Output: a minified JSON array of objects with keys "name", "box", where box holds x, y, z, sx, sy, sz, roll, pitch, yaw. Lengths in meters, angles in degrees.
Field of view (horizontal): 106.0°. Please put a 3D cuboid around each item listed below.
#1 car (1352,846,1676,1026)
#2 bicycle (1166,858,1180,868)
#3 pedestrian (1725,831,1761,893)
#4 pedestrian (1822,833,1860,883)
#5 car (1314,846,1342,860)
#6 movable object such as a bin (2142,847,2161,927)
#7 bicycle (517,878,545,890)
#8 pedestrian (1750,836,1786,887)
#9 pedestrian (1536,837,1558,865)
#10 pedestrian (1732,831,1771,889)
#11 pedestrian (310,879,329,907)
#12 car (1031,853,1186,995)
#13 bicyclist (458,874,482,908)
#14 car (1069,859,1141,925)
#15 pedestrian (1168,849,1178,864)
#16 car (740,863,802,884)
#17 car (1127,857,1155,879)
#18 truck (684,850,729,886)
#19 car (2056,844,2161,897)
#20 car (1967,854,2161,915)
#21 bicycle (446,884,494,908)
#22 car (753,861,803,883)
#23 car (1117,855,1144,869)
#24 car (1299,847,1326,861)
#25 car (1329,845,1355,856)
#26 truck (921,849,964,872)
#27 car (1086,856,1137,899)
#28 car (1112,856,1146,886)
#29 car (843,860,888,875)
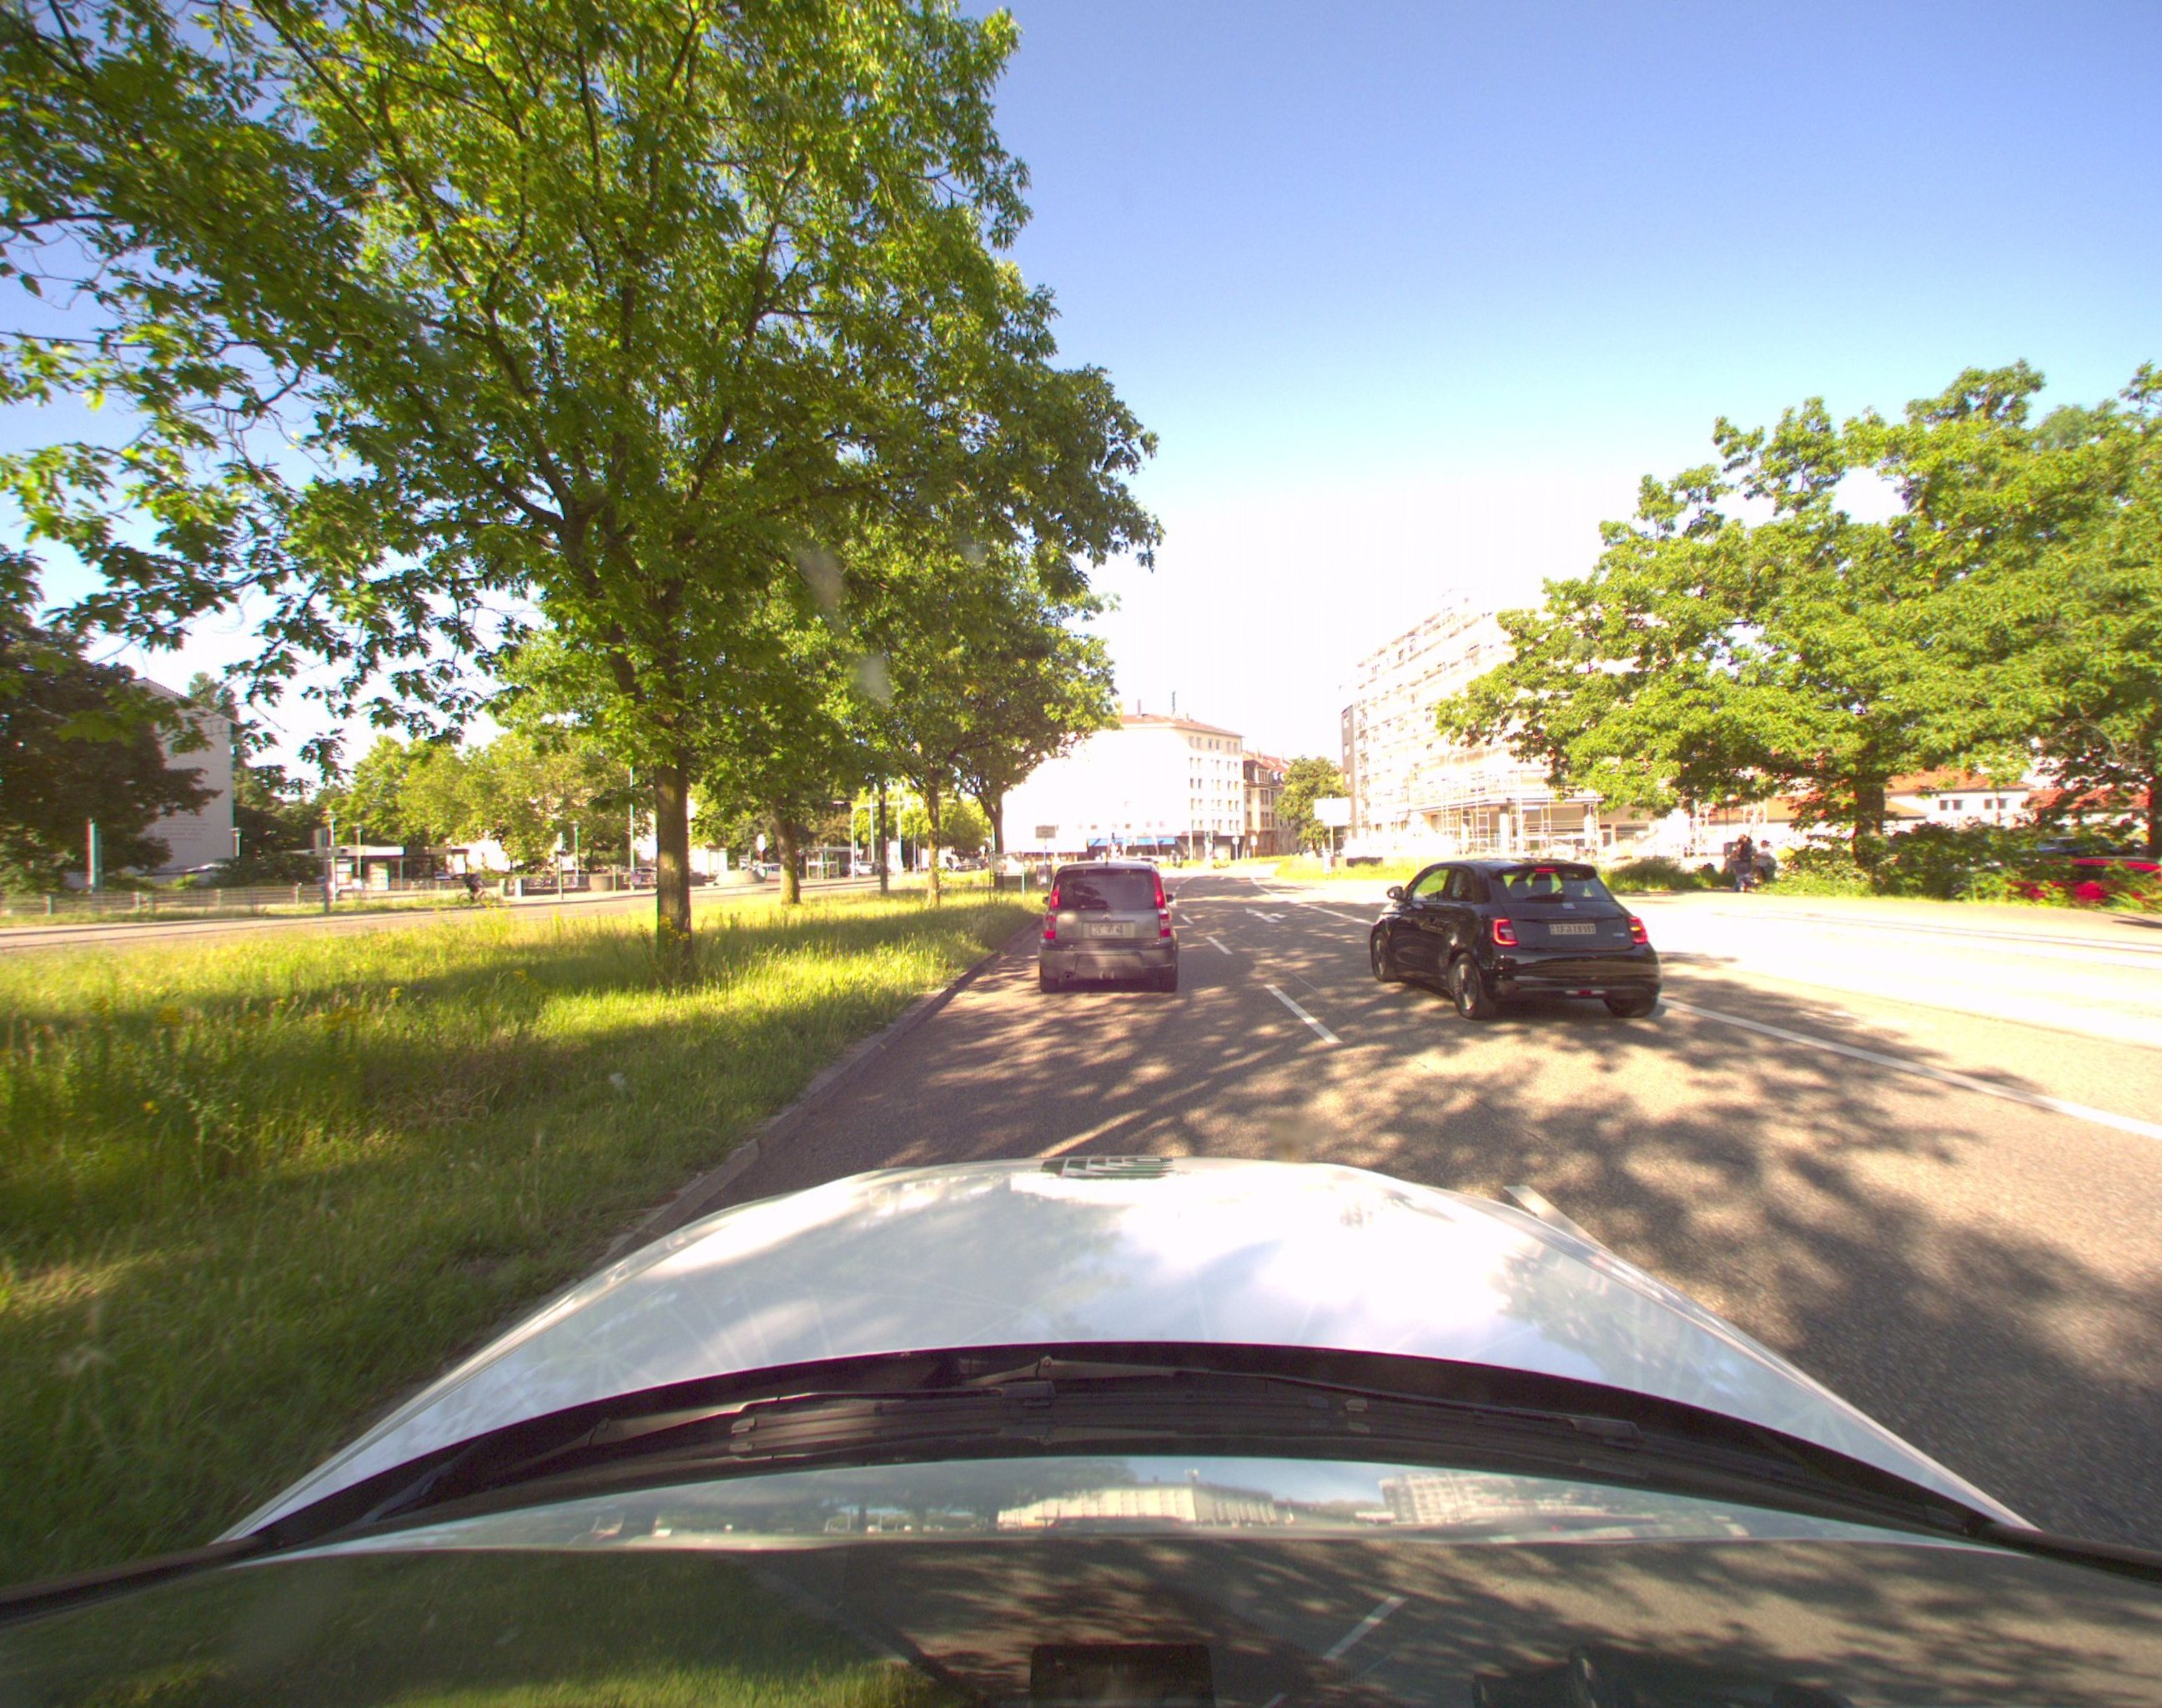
[{"name":"car","box":[4.324,0.706,8.812,1.668,1.503,3.563,-2,0,2]},{"name":"bicycle","box":[8.726,0.841,77.441,0.783,0.951,1.849,0,-1,-11]},{"name":"pedestrian","box":[18.545,0.221,22.818,0.600,1.700,0.410,-2,0,1]},{"name":"pedestrian","box":[24.725,0.136,26.503,0.701,1.620,0.566,0,-1,-4]},{"name":"car","box":[27.924,-0.116,92.058,1.802,1.508,4.026,-2,0,35]},{"name":"movable object such as a bin","box":[14.304,0.417,10.405,0.724,1.030,0.578,-2,0,1]},{"name":"bicycle","box":[-43.114,2.327,63.840,1.695,0.839,0.541,-2,0,-41]},{"name":"pedestrian","box":[20.820,0.238,24.687,0.525,1.518,0.614,-1,0,4]},{"name":"pedestrian","box":[26.126,-0.162,45.669,0.649,1.497,0.907,-1,0,-6]},{"name":"pedestrian","box":[19.138,0.162,23.263,0.619,1.634,0.552,-2,0,2]},{"name":"pedestrian","box":[-50.096,2.574,53.595,0.553,1.829,0.731,-2,-1,23]},{"name":"car","box":[0.397,0.761,10.498,1.653,1.510,3.254,-2,0,3]},{"name":"bicyclist","box":[-28.580,1.715,38.089,0.606,1.530,0.680,0,1,28]},{"name":"car","box":[0.606,0.883,20.368,1.615,1.429,3.690,-2,0,2]},{"name":"pedestrian","box":[8.743,0.268,77.405,0.774,1.428,0.935,0,-1,-12]},{"name":"car","box":[-26.574,1.642,69.899,1.849,1.544,4.576,2,2,45]},{"name":"car","box":[3.864,0.882,52.191,1.682,1.253,3.632,-2,0,6]},{"name":"truck","box":[-33.371,1.231,72.566,4.768,2.994,2.012,-1,1,44]},{"name":"car","box":[33.607,0.493,25.302,1.984,1.607,4.006,0,-1,5]},{"name":"car","box":[21.849,0.592,17.492,1.392,1.154,3.912,-2,0,1]},{"name":"bicycle","box":[-28.563,1.952,38.070,0.606,1.001,1.668,-2,0,28]},{"name":"car","box":[-27.150,1.611,73.129,1.741,1.717,4.025,2,2,29]},{"name":"car","box":[4.637,0.700,76.877,1.991,1.243,3.992,-1,0,-6]},{"name":"car","box":[25.056,-0.016,87.996,1.757,1.442,3.642,-1,1,34]},{"name":"car","box":[37.893,-0.520,118.347,1.905,1.594,3.985,-2,0,-11]},{"name":"truck","box":[-14.910,0.715,87.816,4.067,2.427,1.801,-1,0,14]},{"name":"car","box":[1.123,0.840,31.484,1.754,1.486,4.292,-2,0,0]},{"name":"car","box":[2.470,0.840,41.813,1.639,1.438,3.399,-2,0,3]},{"name":"car","box":[-23.374,1.431,88.456,4.376,1.448,1.667,-1,0,-2]}]
